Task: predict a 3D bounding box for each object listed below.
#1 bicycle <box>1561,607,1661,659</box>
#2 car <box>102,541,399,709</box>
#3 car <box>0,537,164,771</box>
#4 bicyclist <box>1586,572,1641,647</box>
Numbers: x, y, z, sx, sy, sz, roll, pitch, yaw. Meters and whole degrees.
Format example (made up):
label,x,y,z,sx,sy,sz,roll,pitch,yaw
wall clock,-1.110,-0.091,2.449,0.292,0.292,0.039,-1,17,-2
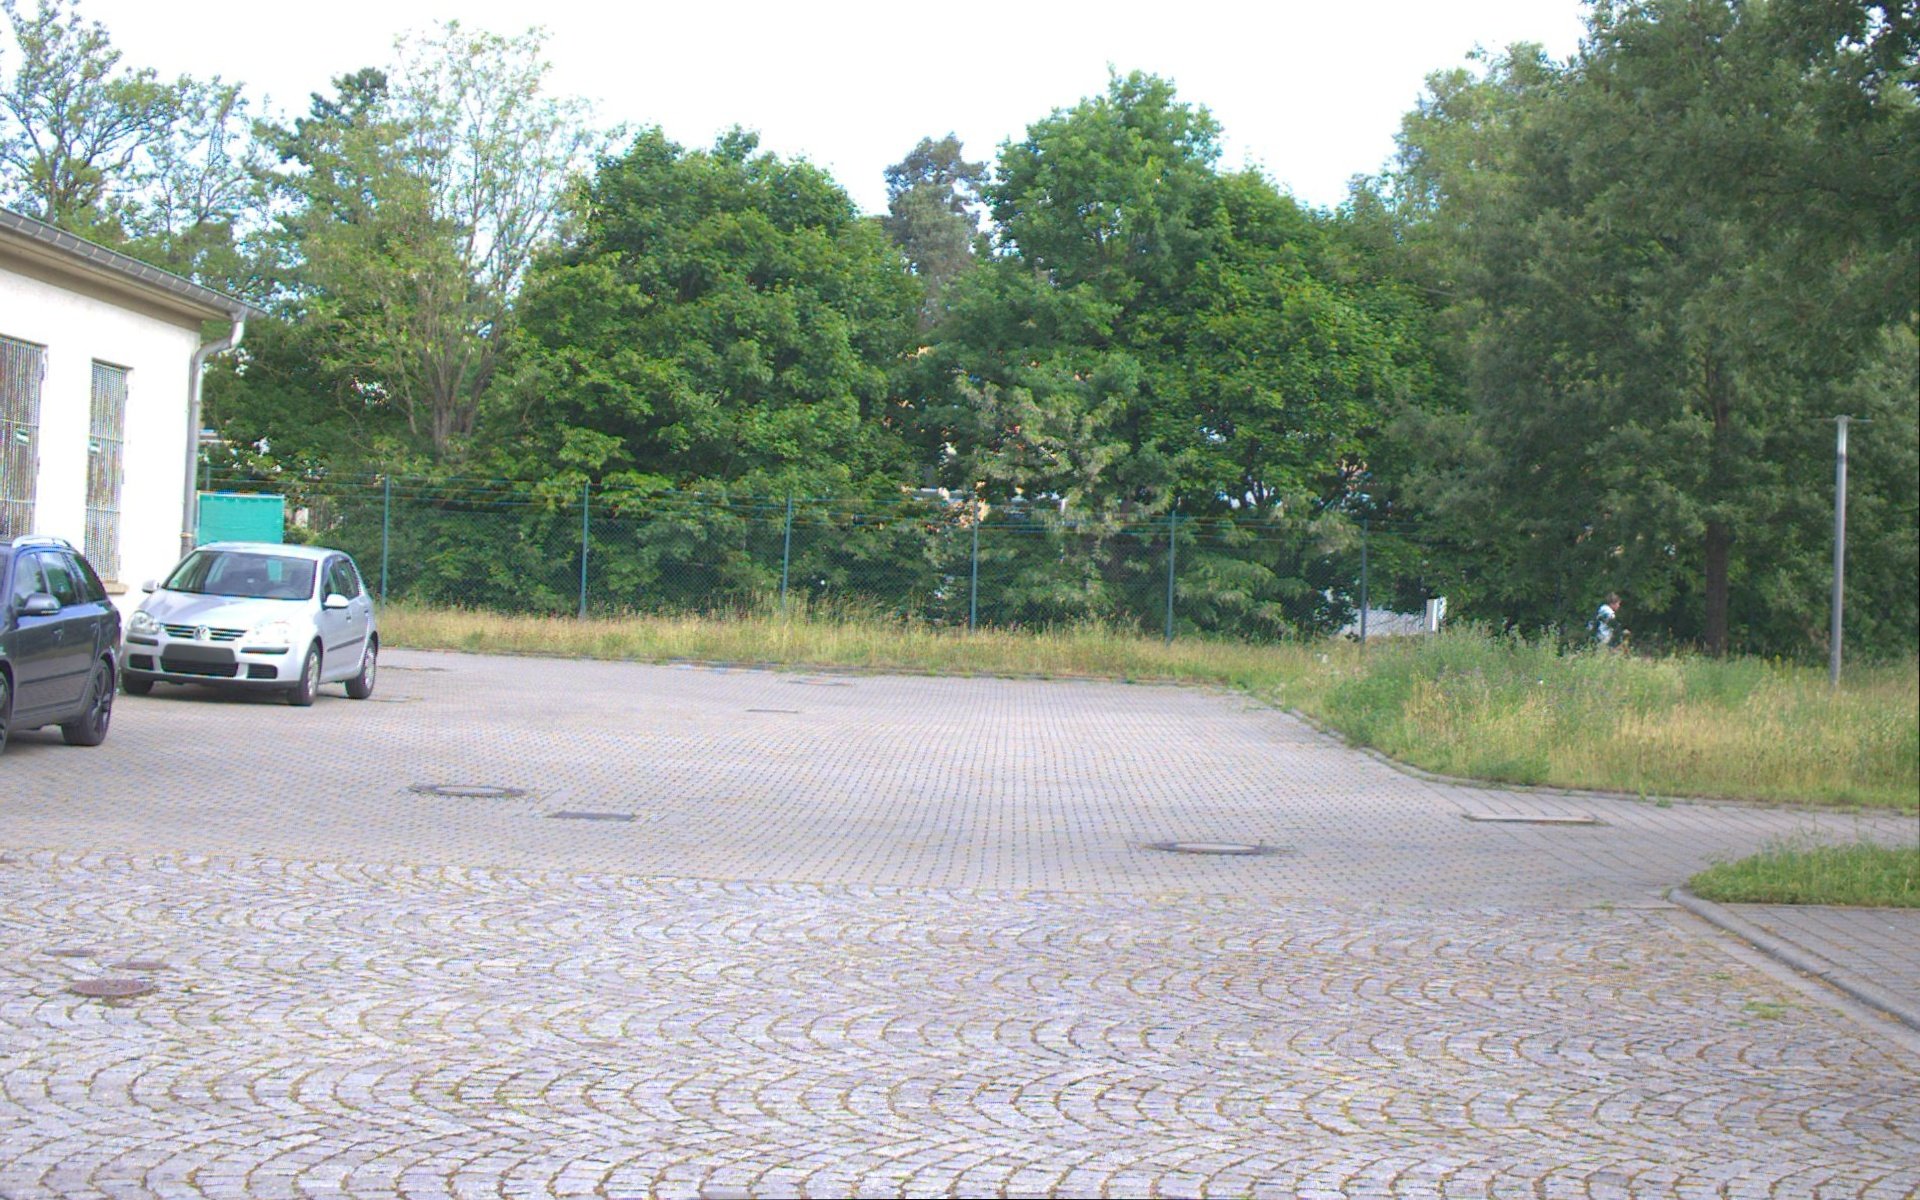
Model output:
label,x,y,z,sx,sy,sz,roll,pitch,yaw
bicycle,10.778,0.549,56.938,1.517,0.788,0.588,2,0,1
car,-6.746,0.209,33.136,1.924,1.434,4.368,2,0,0
car,-6.938,0.287,23.316,1.924,1.456,4.811,2,0,0
bicyclist,10.823,0.161,56.940,0.769,1.202,0.588,2,0,1
